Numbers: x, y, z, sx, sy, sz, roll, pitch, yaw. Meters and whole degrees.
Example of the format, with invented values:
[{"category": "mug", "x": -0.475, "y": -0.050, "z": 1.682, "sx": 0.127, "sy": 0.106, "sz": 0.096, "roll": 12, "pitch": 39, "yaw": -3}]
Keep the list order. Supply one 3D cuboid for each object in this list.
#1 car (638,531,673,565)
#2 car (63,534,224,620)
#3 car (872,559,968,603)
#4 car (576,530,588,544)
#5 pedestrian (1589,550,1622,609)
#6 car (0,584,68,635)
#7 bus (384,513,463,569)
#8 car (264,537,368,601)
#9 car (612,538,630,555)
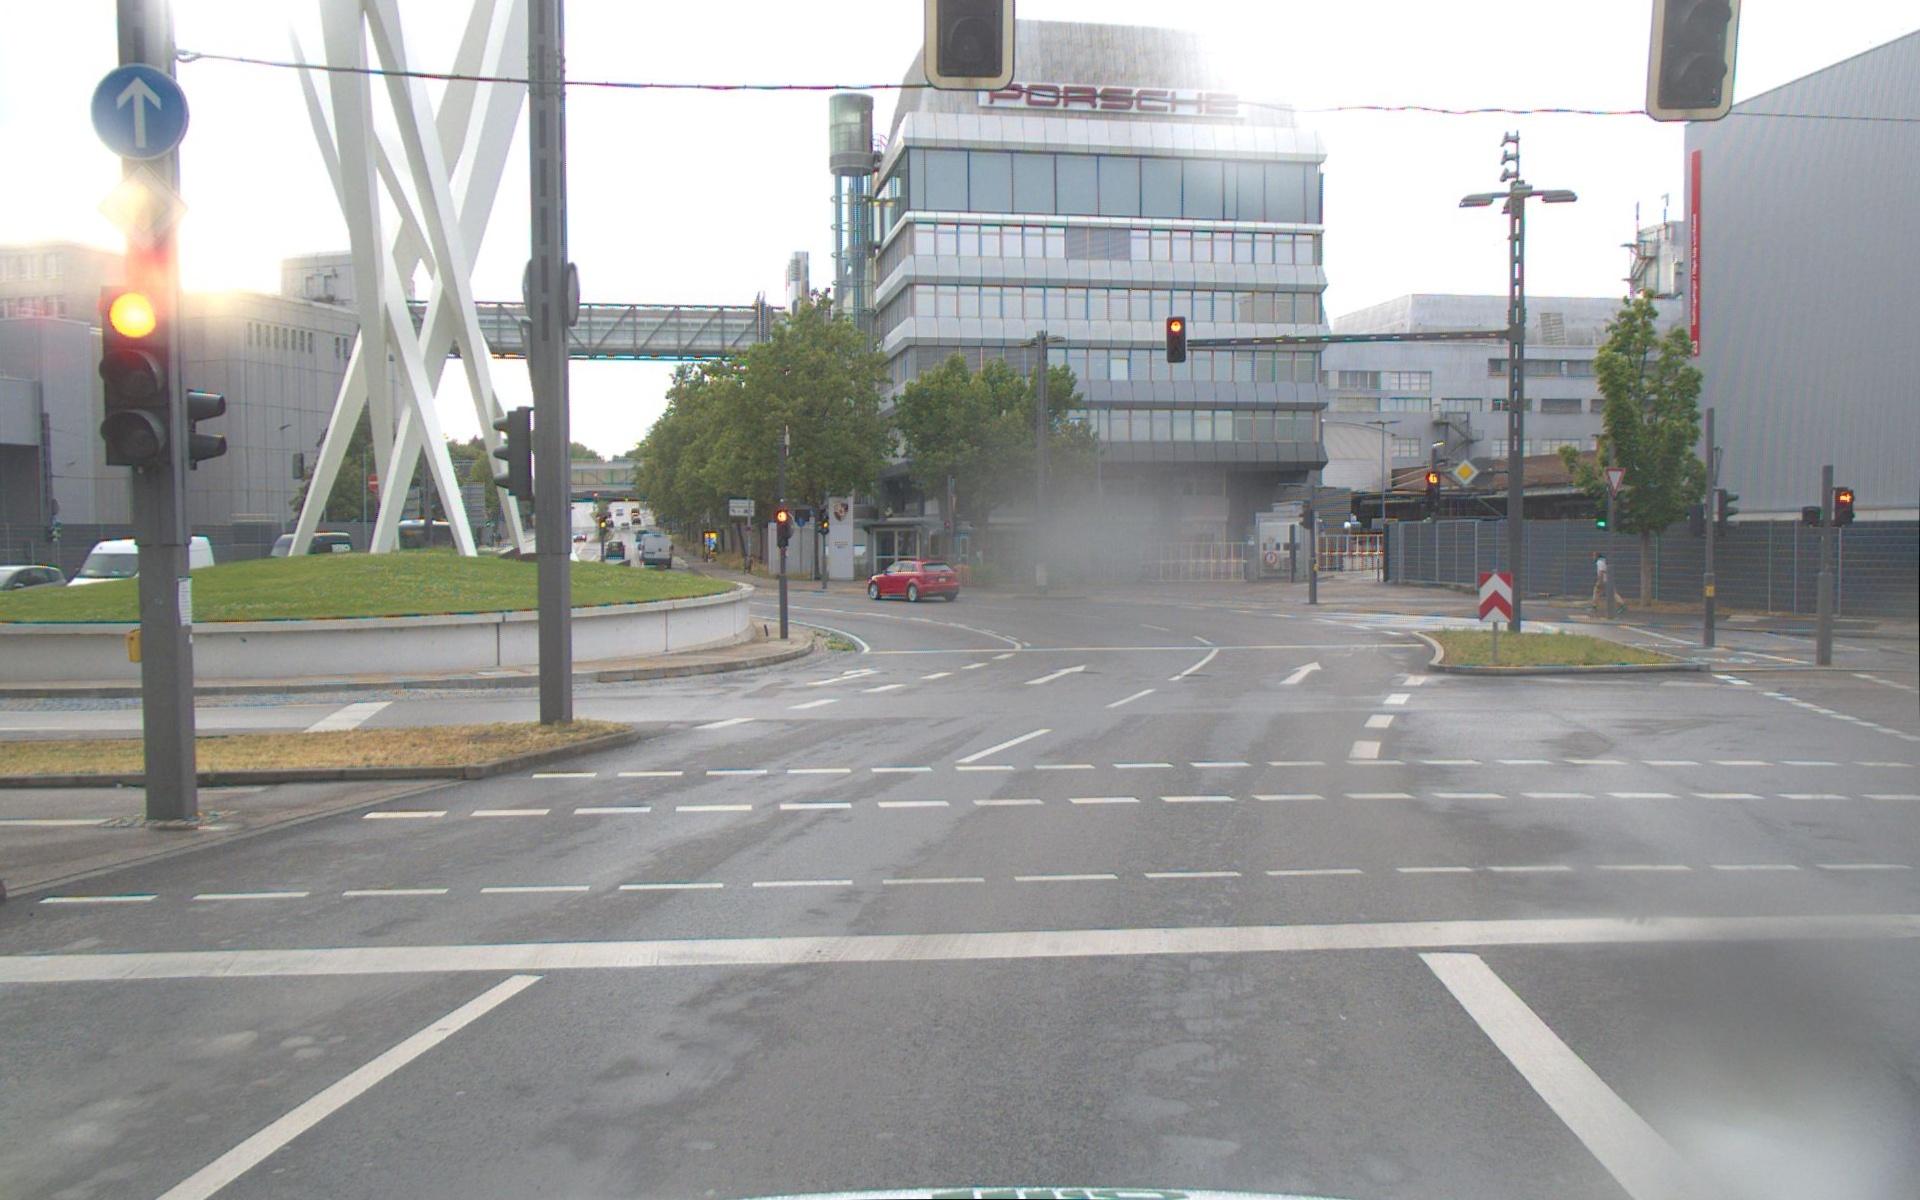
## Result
[{"category": "car", "x": -20.722, "y": -3.512, "z": 112.348, "sx": 2.194, "sy": 2.145, "sz": 4.938, "roll": 0, "pitch": -1, "yaw": -13}, {"category": "car", "x": -25.075, "y": -0.716, "z": 51.050, "sx": 1.951, "sy": 2.490, "sz": 5.430, "roll": -1, "pitch": 1, "yaw": 4}, {"category": "car", "x": -1.443, "y": -0.652, "z": 58.632, "sx": 1.757, "sy": 1.490, "sz": 3.689, "roll": 0, "pitch": 0, "yaw": -34}, {"category": "car", "x": -53.111, "y": -8.877, "z": 232.445, "sx": 1.599, "sy": 1.848, "sz": 3.721, "roll": 0, "pitch": 1, "yaw": -13}, {"category": "pedestrian", "x": 17.928, "y": -0.560, "z": 45.959, "sx": 0.791, "sy": 1.639, "sz": 0.769, "roll": -1, "pitch": -1, "yaw": 18}, {"category": "car", "x": -29.239, "y": 0.264, "z": 50.814, "sx": 1.798, "sy": 1.520, "sz": 3.995, "roll": 0, "pitch": 1, "yaw": -6}, {"category": "bus", "x": -33.824, "y": -3.606, "z": 104.706, "sx": 2.619, "sy": 3.256, "sz": 12.646, "roll": 0, "pitch": 1, "yaw": -8}, {"category": "car", "x": -30.318, "y": -1.427, "z": 78.163, "sx": 1.926, "sy": 2.869, "sz": 7.130, "roll": 0, "pitch": 1, "yaw": 2}, {"category": "car", "x": -29.513, "y": -4.666, "z": 143.984, "sx": 1.530, "sy": 1.311, "sz": 3.403, "roll": 0, "pitch": 0, "yaw": -12}]
